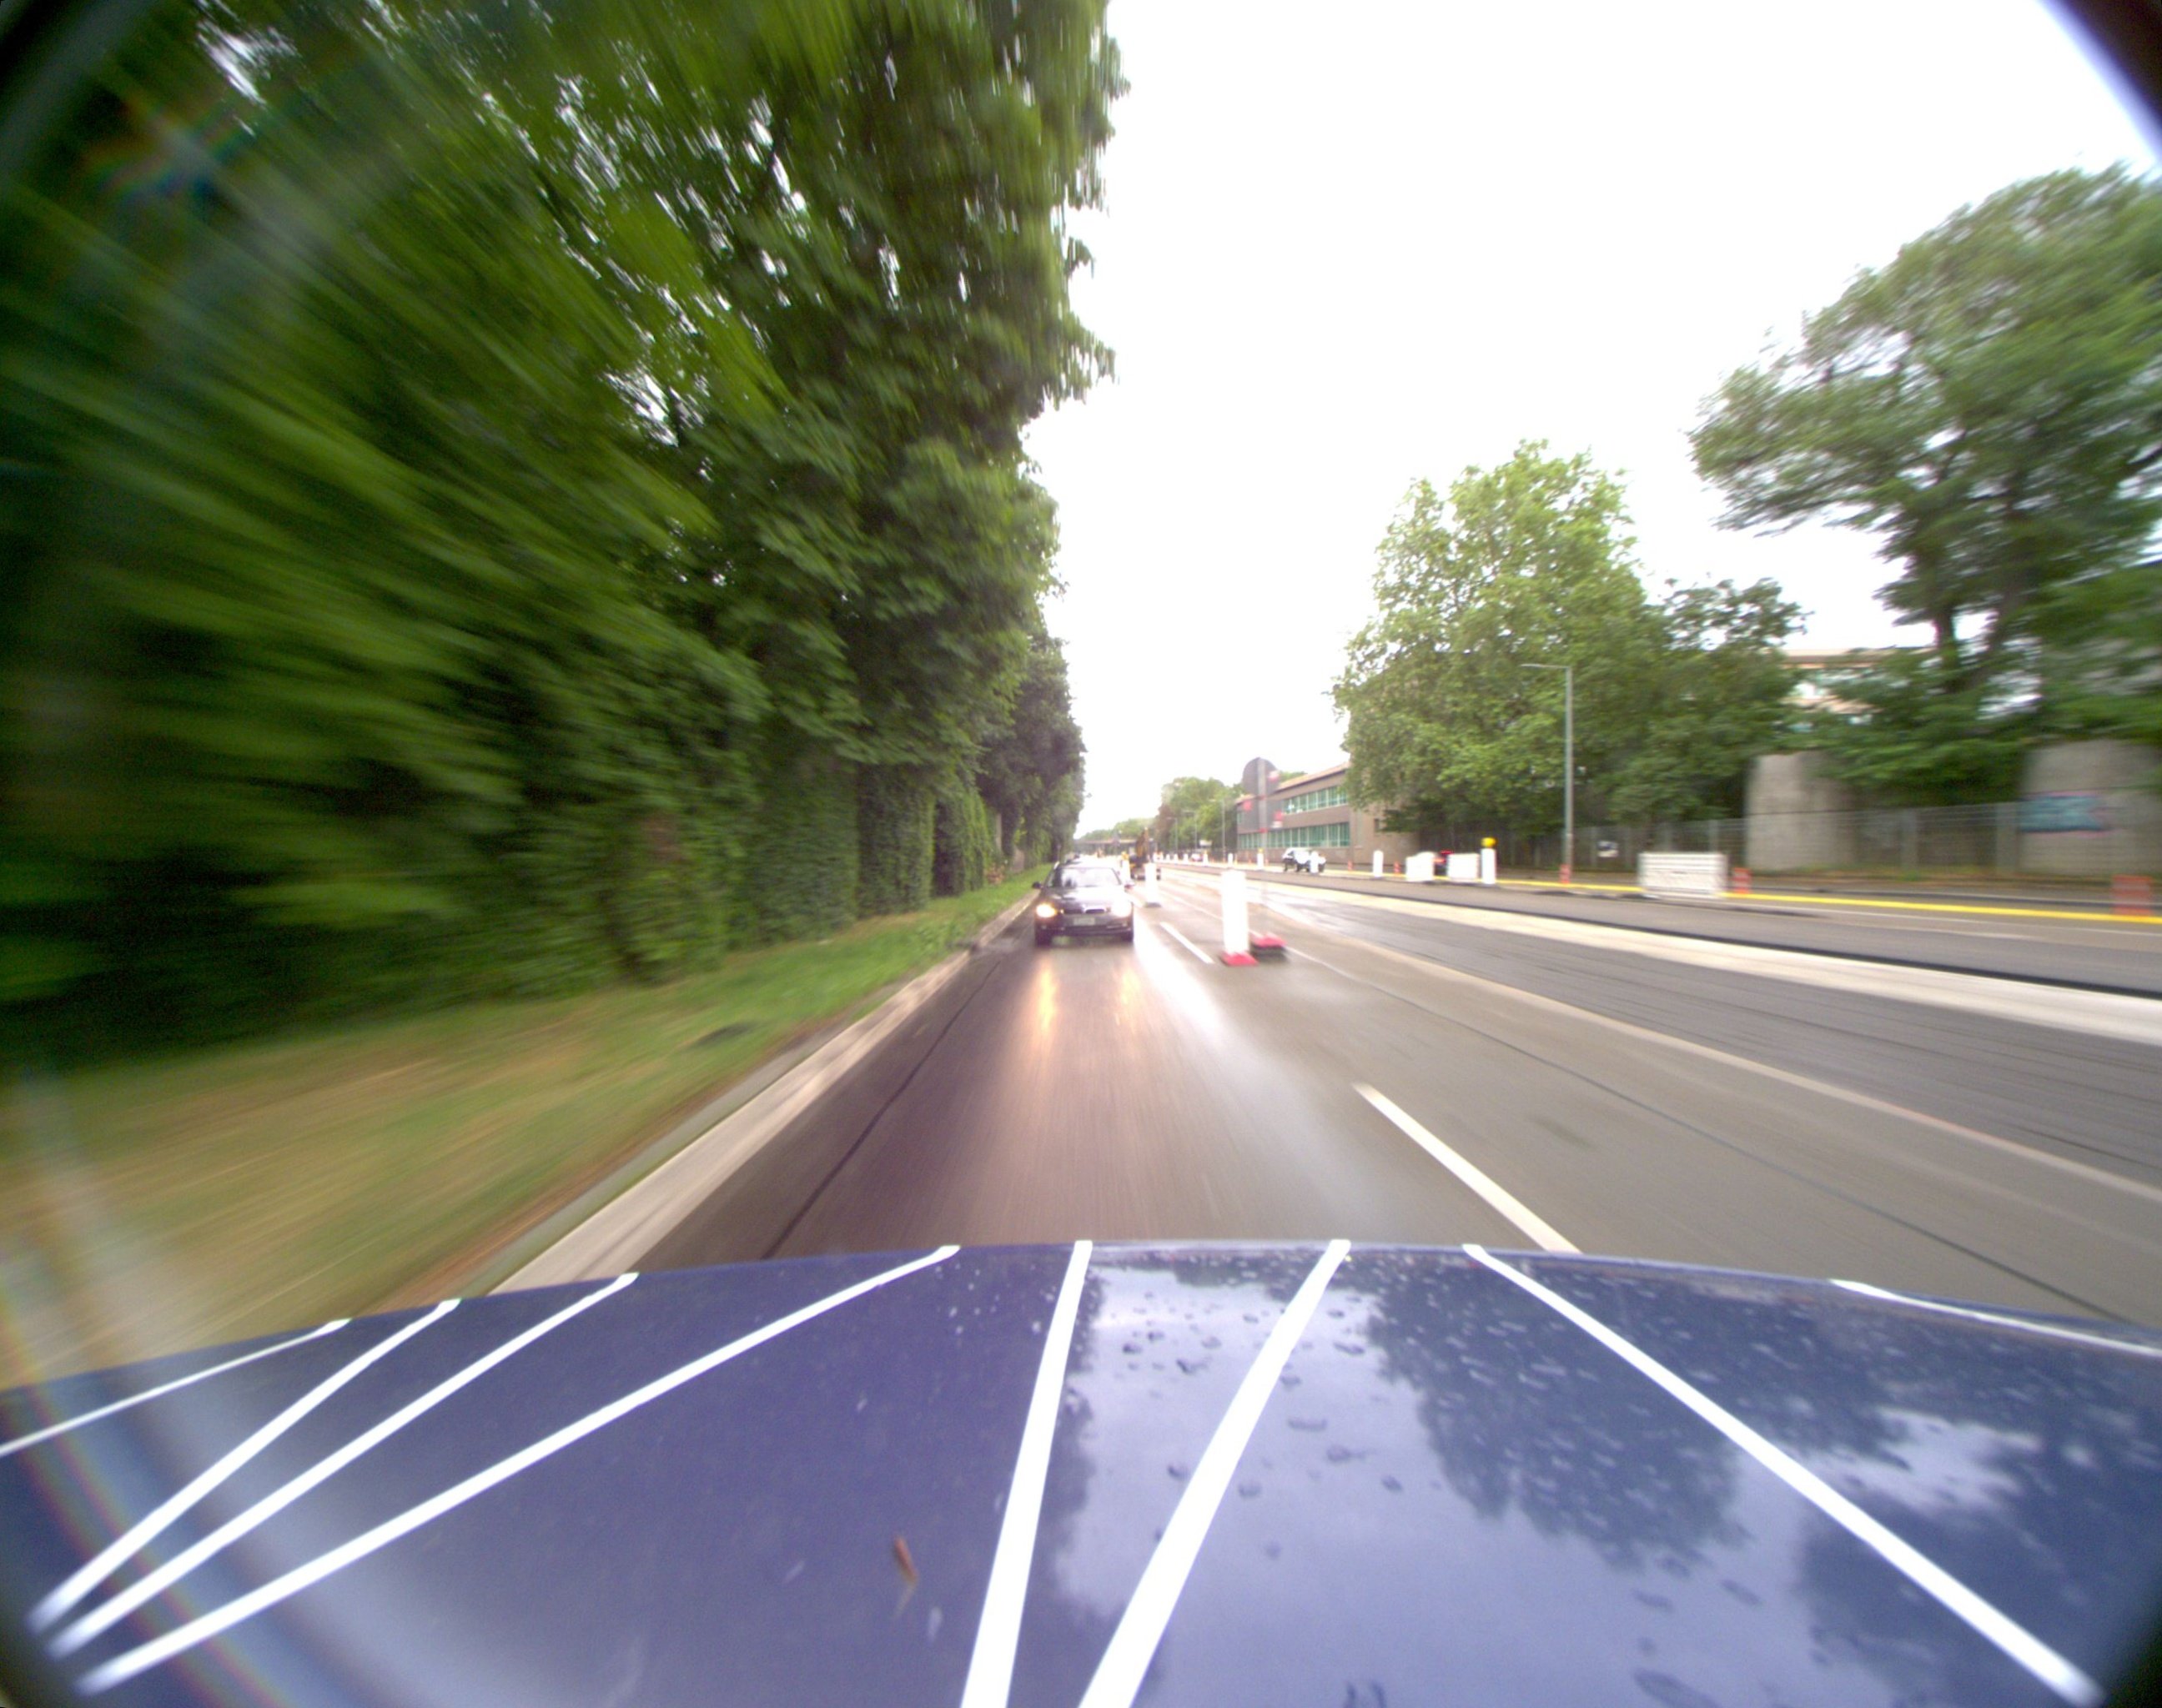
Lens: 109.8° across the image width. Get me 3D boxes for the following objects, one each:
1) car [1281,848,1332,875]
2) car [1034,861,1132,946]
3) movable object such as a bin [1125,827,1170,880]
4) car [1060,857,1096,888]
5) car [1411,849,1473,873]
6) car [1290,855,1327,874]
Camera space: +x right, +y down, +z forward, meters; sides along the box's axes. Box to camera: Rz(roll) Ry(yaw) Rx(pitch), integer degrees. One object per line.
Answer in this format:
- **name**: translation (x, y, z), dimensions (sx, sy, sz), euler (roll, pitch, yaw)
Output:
- **car**: translation (15.450, 0.512, 52.318), dimensions (1.998, 1.695, 4.985), euler (3, -1, 0)
- **car**: translation (0.021, 0.919, 16.008), dimensions (1.743, 1.454, 4.457), euler (-1, 0, -1)
- **movable object such as a bin**: translation (4.070, -0.065, 47.453), dimensions (1.999, 3.084, 5.622), euler (-1, 0, -3)
- **car**: translation (-0.129, 0.952, 40.251), dimensions (1.742, 1.454, 4.458), euler (-1, 0, 0)
- **car**: translation (21.282, 0.398, 45.021), dimensions (1.710, 1.374, 4.169), euler (0, 0, 0)
- **car**: translation (18.665, 0.869, 62.473), dimensions (1.841, 1.426, 4.148), euler (-1, 0, 0)
